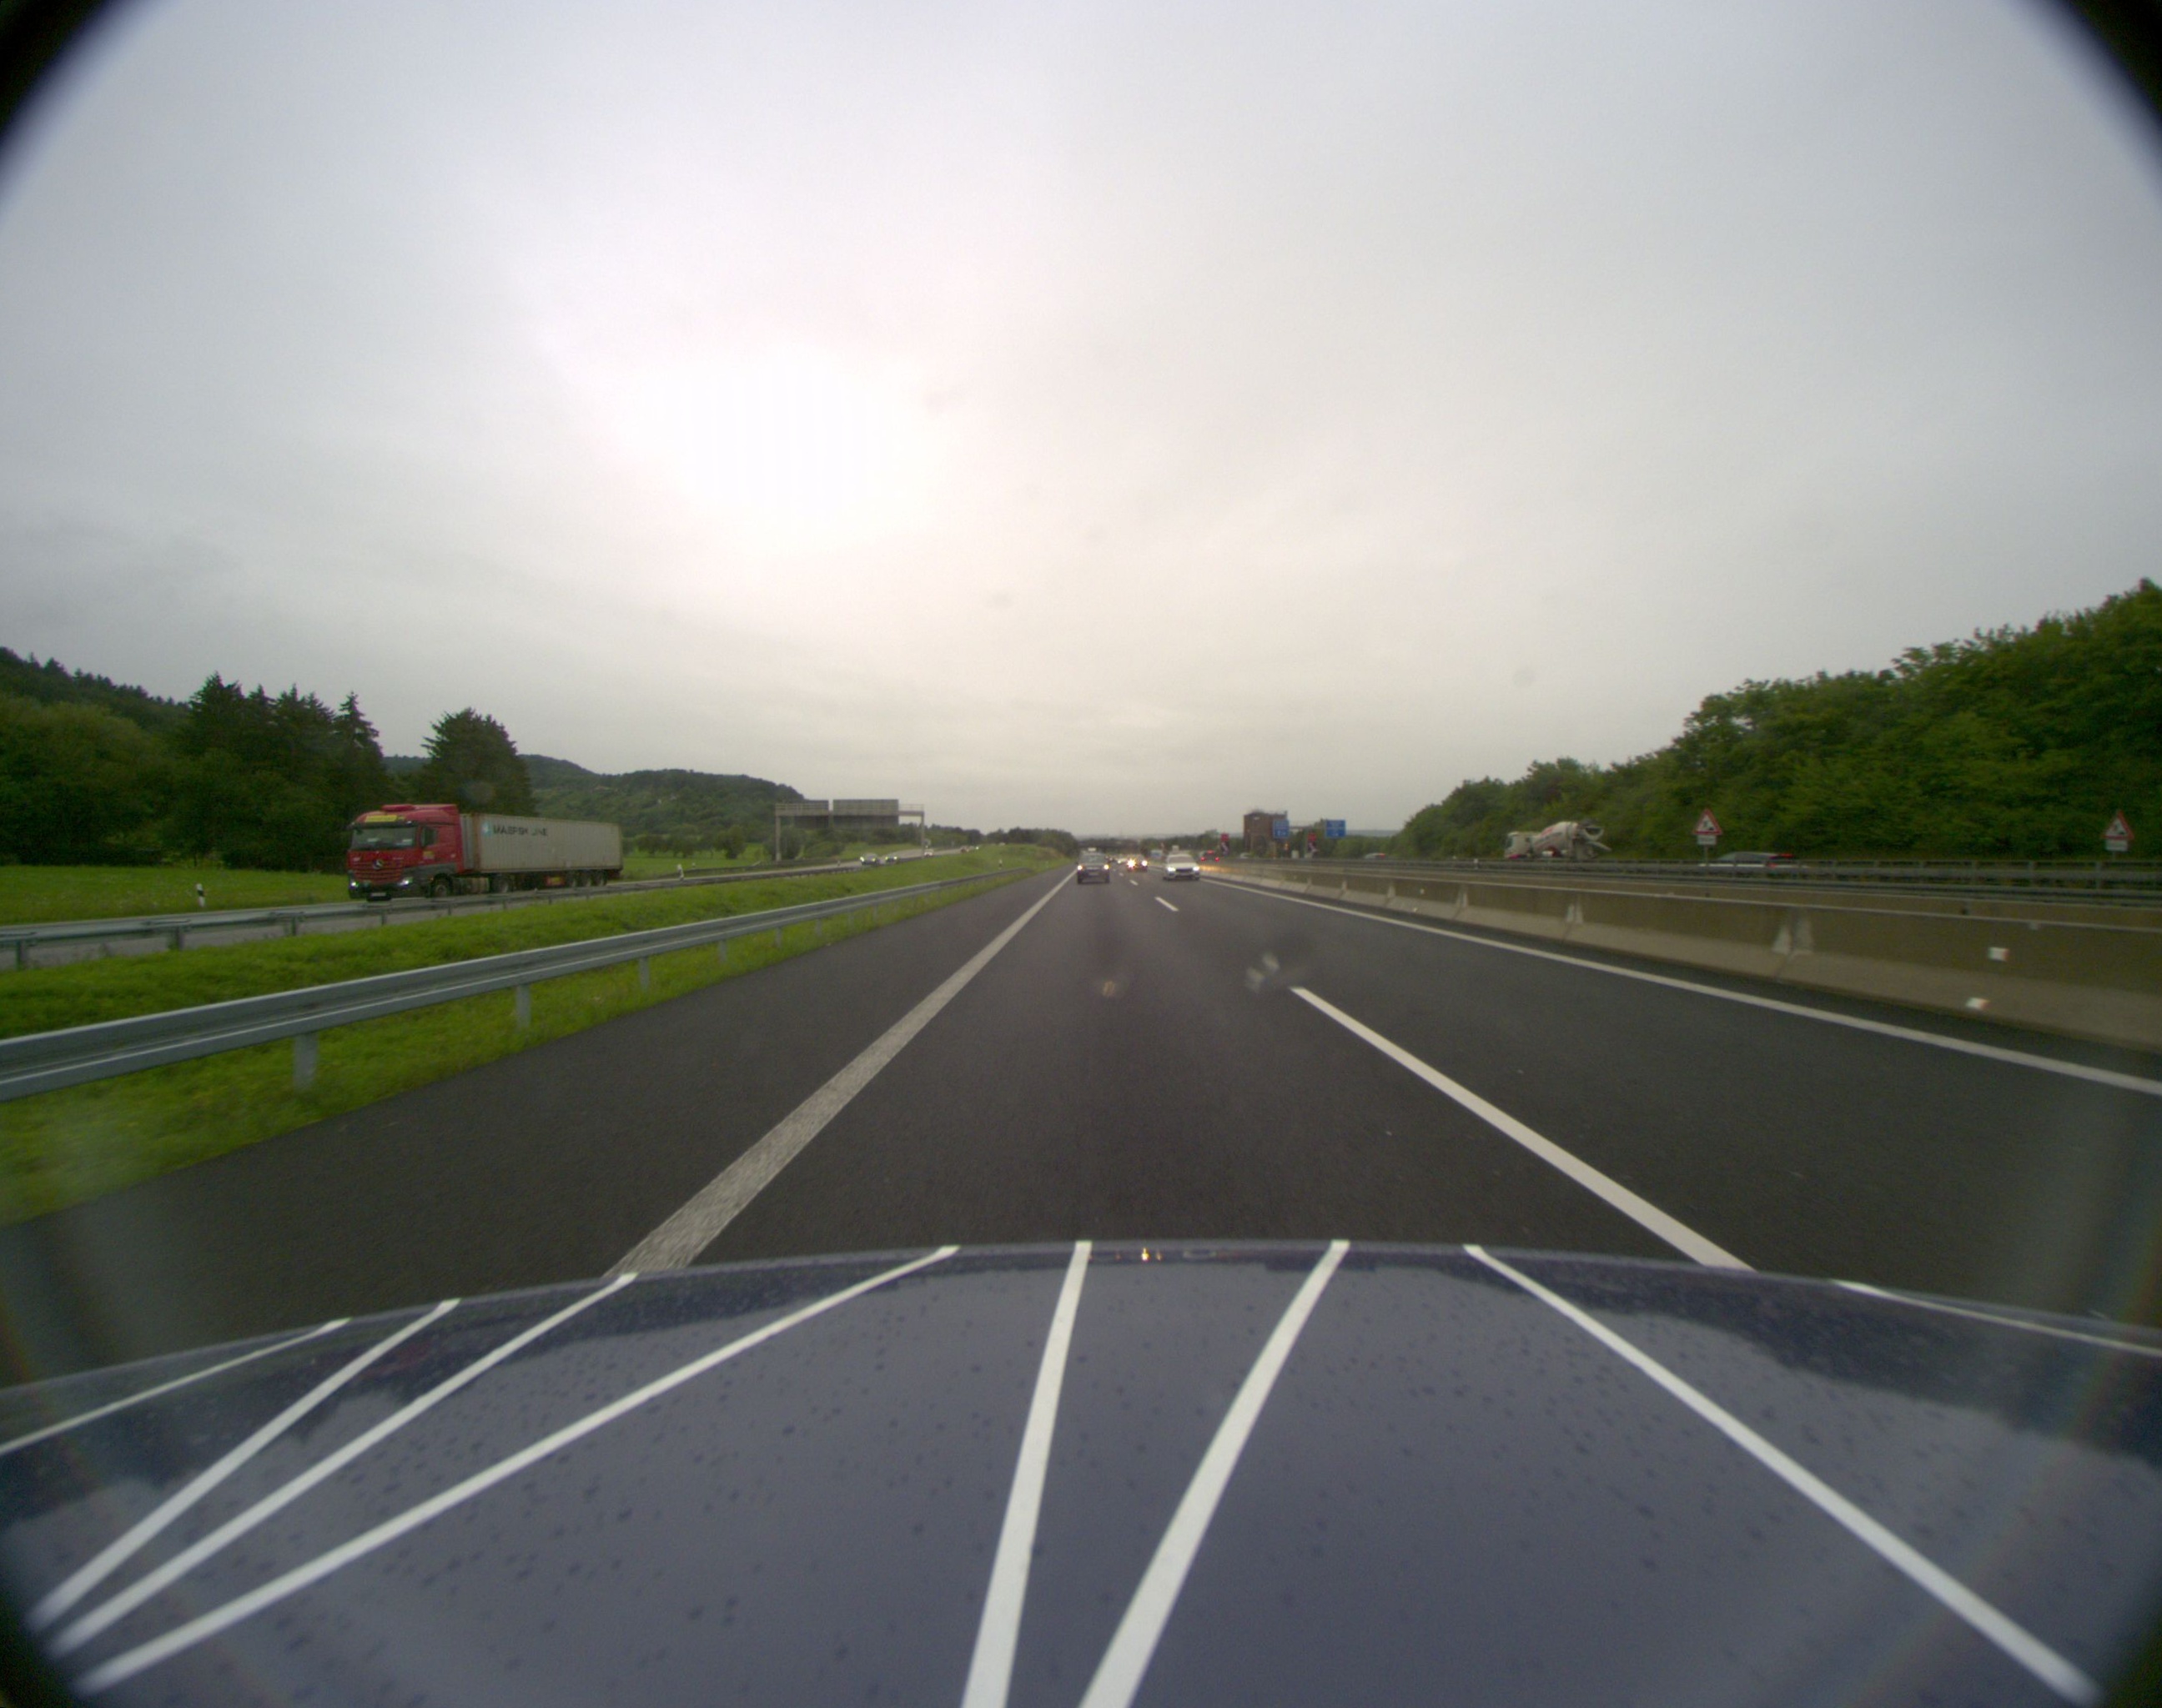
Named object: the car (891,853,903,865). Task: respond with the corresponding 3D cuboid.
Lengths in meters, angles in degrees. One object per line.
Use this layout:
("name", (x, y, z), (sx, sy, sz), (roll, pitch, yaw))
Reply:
("car", (-30.984, 0.883, 127.942), (1.654, 2.002, 3.996), (-1, 0, -9))

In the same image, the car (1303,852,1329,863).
("car", (31.013, 0.419, 100.371), (1.998, 1.398, 4.676), (-1, 0, 2))

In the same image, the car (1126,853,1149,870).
("car", (4.971, 0.615, 67.576), (1.834, 1.417, 4.368), (-2, 0, 2))

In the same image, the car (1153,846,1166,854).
("car", (16.079, -0.781, 155.781), (2.363, 1.683, 5.907), (-1, 0, 2))

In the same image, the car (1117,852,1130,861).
("car", (6.709, 0.342, 120.481), (1.941, 1.341, 4.001), (-2, 0, 3))

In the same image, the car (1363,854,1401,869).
("car", (29.662, 0.703, 75.099), (1.998, 1.398, 4.676), (-1, 0, 2))

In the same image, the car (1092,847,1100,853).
("car", (3.728, -0.859, 186.773), (1.941, 1.341, 4.000), (-3, 0, 1))

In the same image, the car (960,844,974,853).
("car", (-16.671, -0.809, 111.456), (1.483, 1.259, 3.503), (-2, 1, 1))

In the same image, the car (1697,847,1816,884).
("car", (28.463, 0.451, 32.188), (1.593, 1.417, 3.918), (-2, 1, 2))

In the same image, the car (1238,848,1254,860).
("car", (30.914, 0.002, 142.598), (1.998, 2.002, 4.715), (-2, 1, 0))

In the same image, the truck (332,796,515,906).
("truck", (-26.614, -0.131, 31.192), (2.515, 3.964, 5.925), (-3, 1, -5))

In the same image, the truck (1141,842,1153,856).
("truck", (22.670, -1.668, 261.265), (3.408, 4.705, 10.486), (-1, 0, 3))

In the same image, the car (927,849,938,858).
("car", (-35.805, -0.100, 183.125), (1.999, 2.002, 3.998), (-1, 0, -3))

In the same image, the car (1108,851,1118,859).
("car", (6.807, 0.246, 160.047), (1.998, 1.565, 4.000), (-2, 0, 1))

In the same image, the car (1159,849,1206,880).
("car", (5.732, 0.572, 43.471), (1.999, 1.582, 4.816), (-2, 0, 0))

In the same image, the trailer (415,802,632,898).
("trailer", (-27.210, -0.190, 38.315), (2.498, 3.961, 12.399), (-3, 1, -5))

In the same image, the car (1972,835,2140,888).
("car", (39.513, 0.278, 30.960), (1.754, 2.002, 4.000), (-1, 0, 2))

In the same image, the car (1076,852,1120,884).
("car", (0.985, 0.716, 42.242), (2.242, 1.565, 4.817), (-2, 0, 3))

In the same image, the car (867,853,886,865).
("car", (-29.040, 0.688, 108.078), (2.000, 1.710, 4.315), (-1, 0, -8))

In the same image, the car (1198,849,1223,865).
("car", (14.967, 0.341, 88.114), (1.999, 1.641, 5.026), (-2, 0, 0))

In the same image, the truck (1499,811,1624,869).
("truck", (33.106, -0.916, 52.998), (2.692, 3.640, 9.557), (-1, 0, 0))

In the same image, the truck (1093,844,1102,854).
("truck", (5.498, -1.775, 252.692), (2.728, 3.098, 7.960), (-3, 0, 1))
